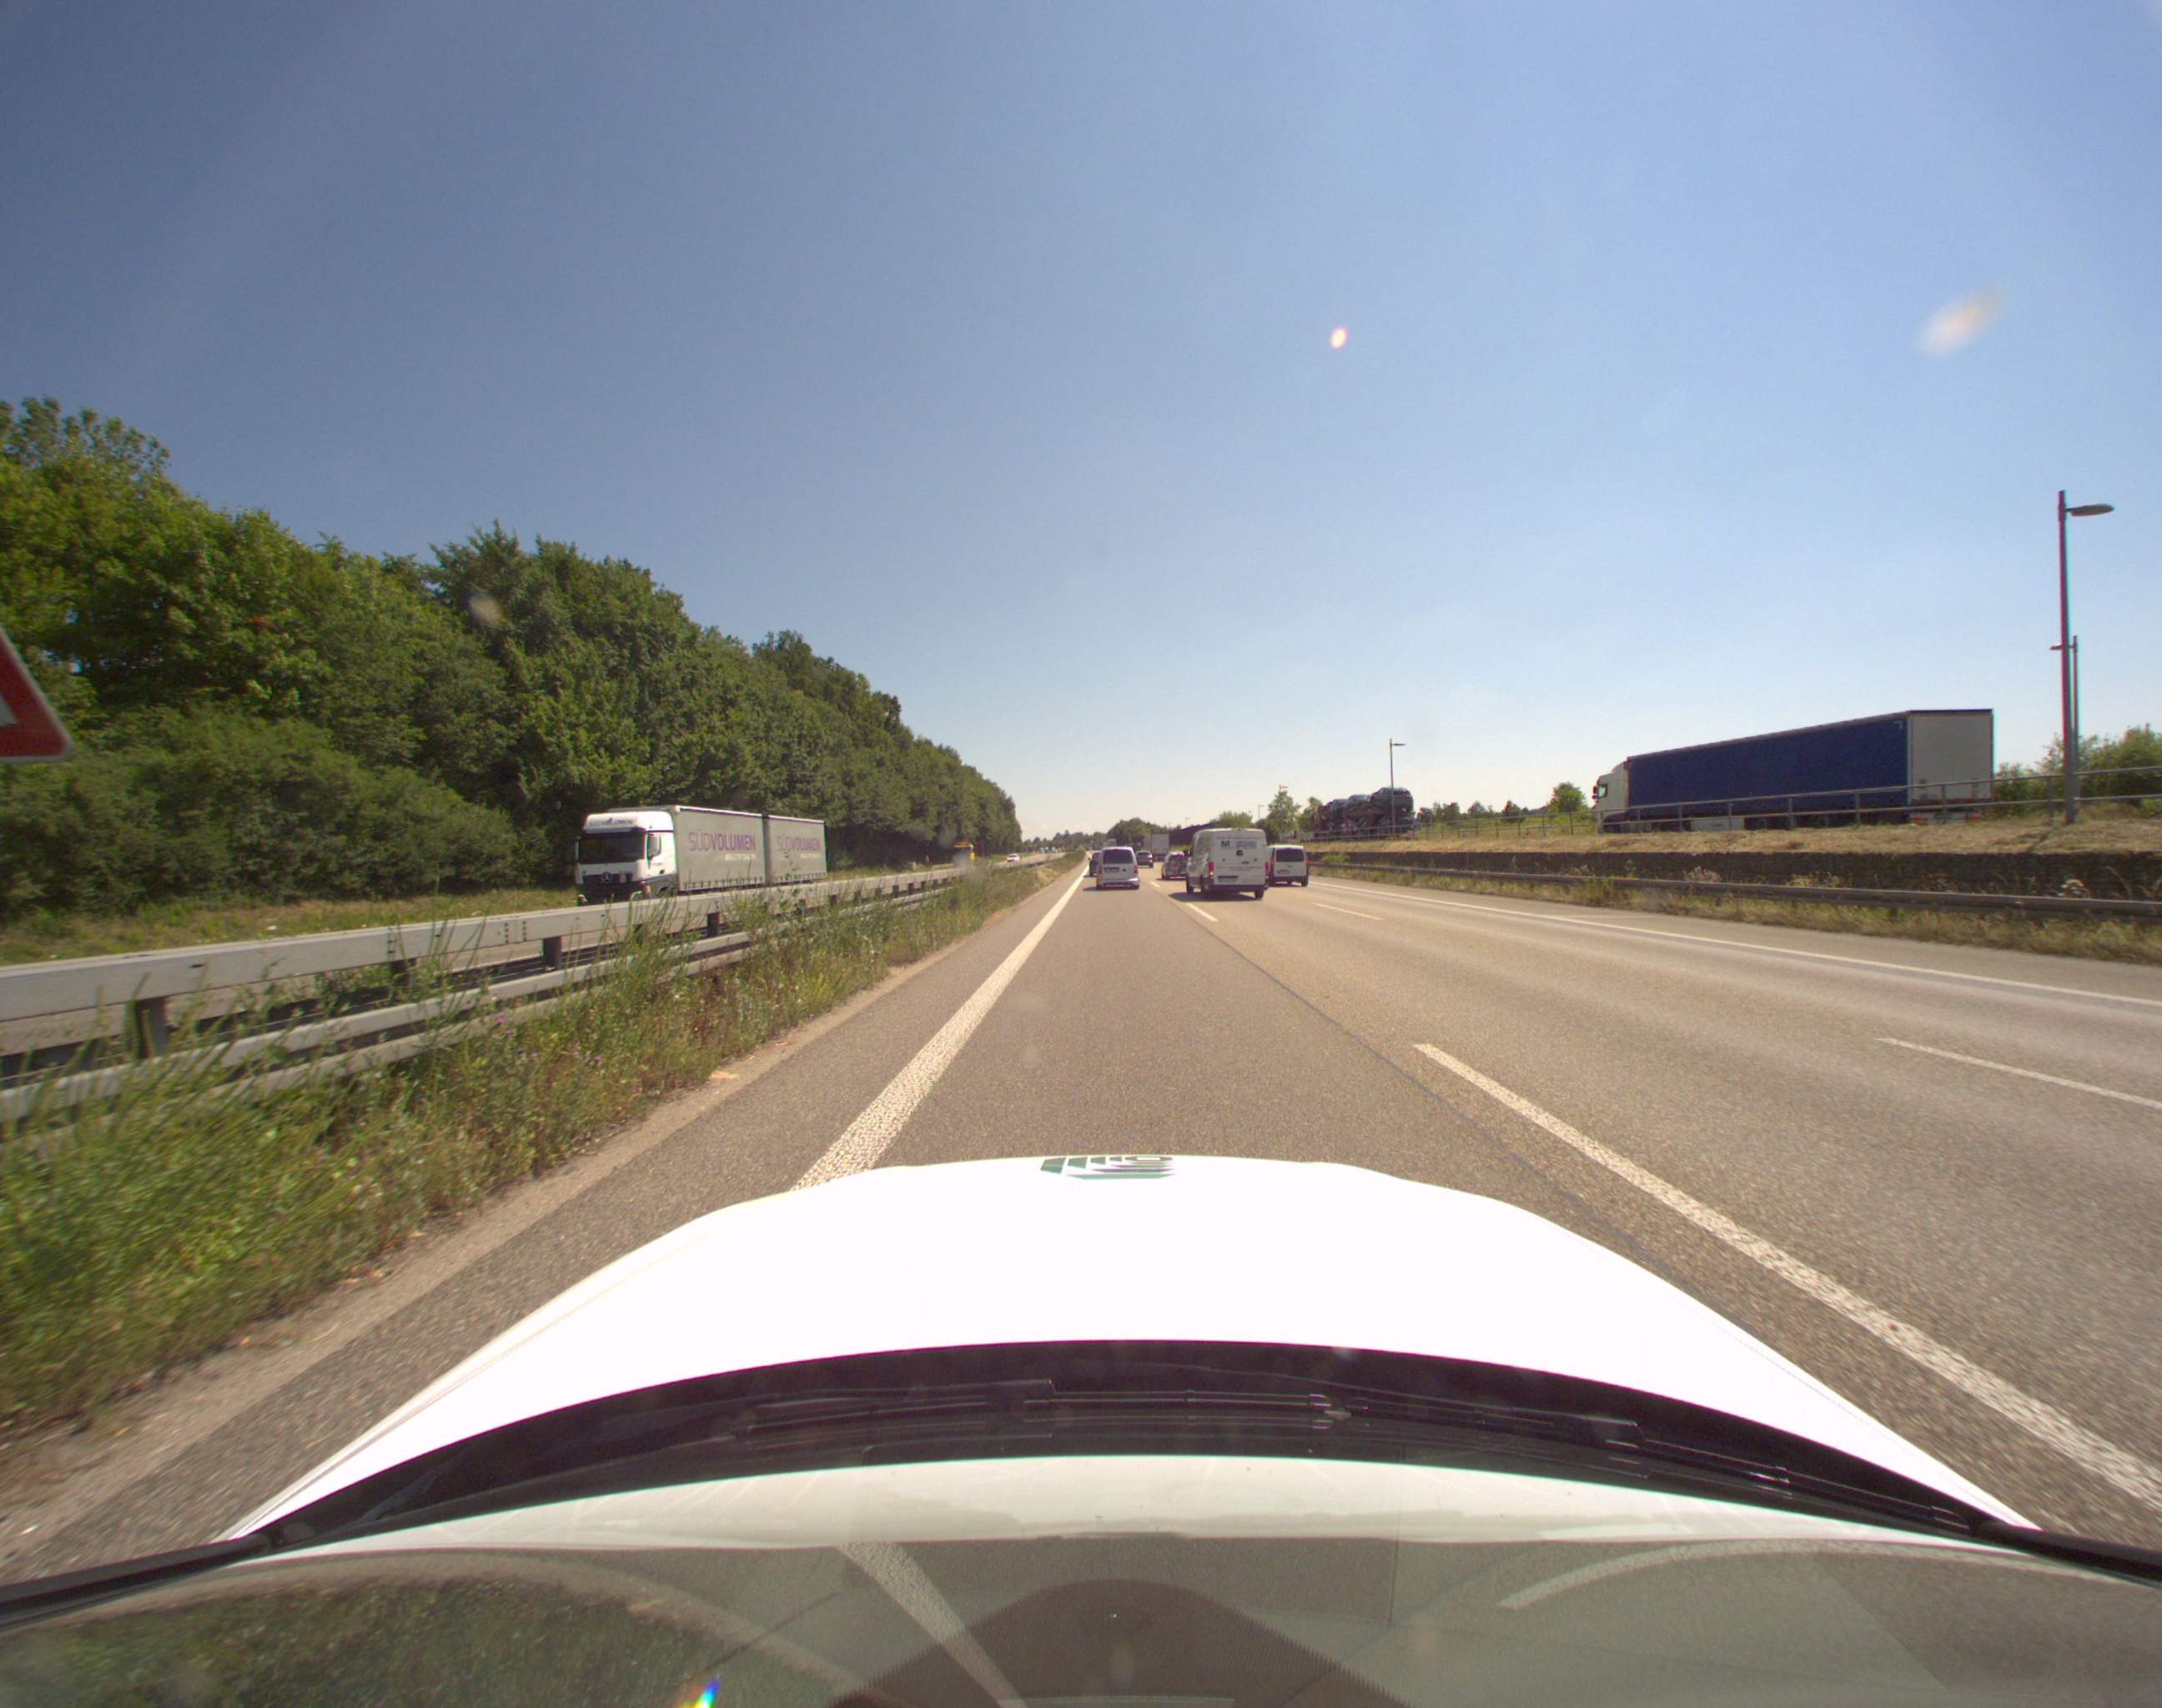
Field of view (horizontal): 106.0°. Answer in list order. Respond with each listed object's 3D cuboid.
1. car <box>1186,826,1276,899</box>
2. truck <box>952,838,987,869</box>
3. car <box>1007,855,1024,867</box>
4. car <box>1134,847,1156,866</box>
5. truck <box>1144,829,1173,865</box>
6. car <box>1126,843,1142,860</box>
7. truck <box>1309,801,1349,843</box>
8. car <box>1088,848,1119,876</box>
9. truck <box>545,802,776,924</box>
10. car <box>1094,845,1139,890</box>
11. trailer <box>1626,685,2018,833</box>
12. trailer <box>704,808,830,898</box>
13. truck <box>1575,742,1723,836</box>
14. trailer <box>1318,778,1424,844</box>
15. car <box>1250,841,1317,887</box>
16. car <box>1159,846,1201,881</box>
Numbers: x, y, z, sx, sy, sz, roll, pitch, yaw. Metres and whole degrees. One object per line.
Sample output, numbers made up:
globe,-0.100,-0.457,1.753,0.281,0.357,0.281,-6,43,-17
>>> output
car,5.002,0.277,28.022,2.174,2.254,5.364,-1,0,1
truck,-14.093,0.016,103.931,2.773,3.738,11.159,0,0,1
car,-10.004,1.115,124.372,1.986,1.670,5.612,-4,0,1
car,5.974,0.278,76.775,1.894,1.672,4.091,-2,0,3
truck,11.205,-0.973,119.059,3.772,5.000,12.528,0,0,3
car,6.148,-0.228,94.978,1.667,1.891,4.091,-2,0,3
truck,23.496,-2.954,77.243,2.593,3.827,4.001,0,-1,1
car,1.485,0.510,52.473,1.737,1.701,4.092,-2,0,3
truck,-16.282,0.290,33.071,3.442,3.994,11.123,-2,0,0
car,1.536,0.554,34.770,1.738,1.764,4.091,-2,0,3
trailer,27.533,-3.104,32.163,3.040,4.083,14.266,0,0,3
trailer,-16.113,-0.017,42.625,3.442,4.279,7.970,0,0,0
truck,27.911,-3.057,40.447,3.040,4.083,6.402,0,0,2
trailer,23.211,-3.163,66.891,2.596,4.258,18.426,0,0,1
car,9.013,0.435,36.588,1.944,1.838,4.179,-2,0,1
car,5.386,0.502,44.649,1.968,1.733,4.091,-2,0,3
